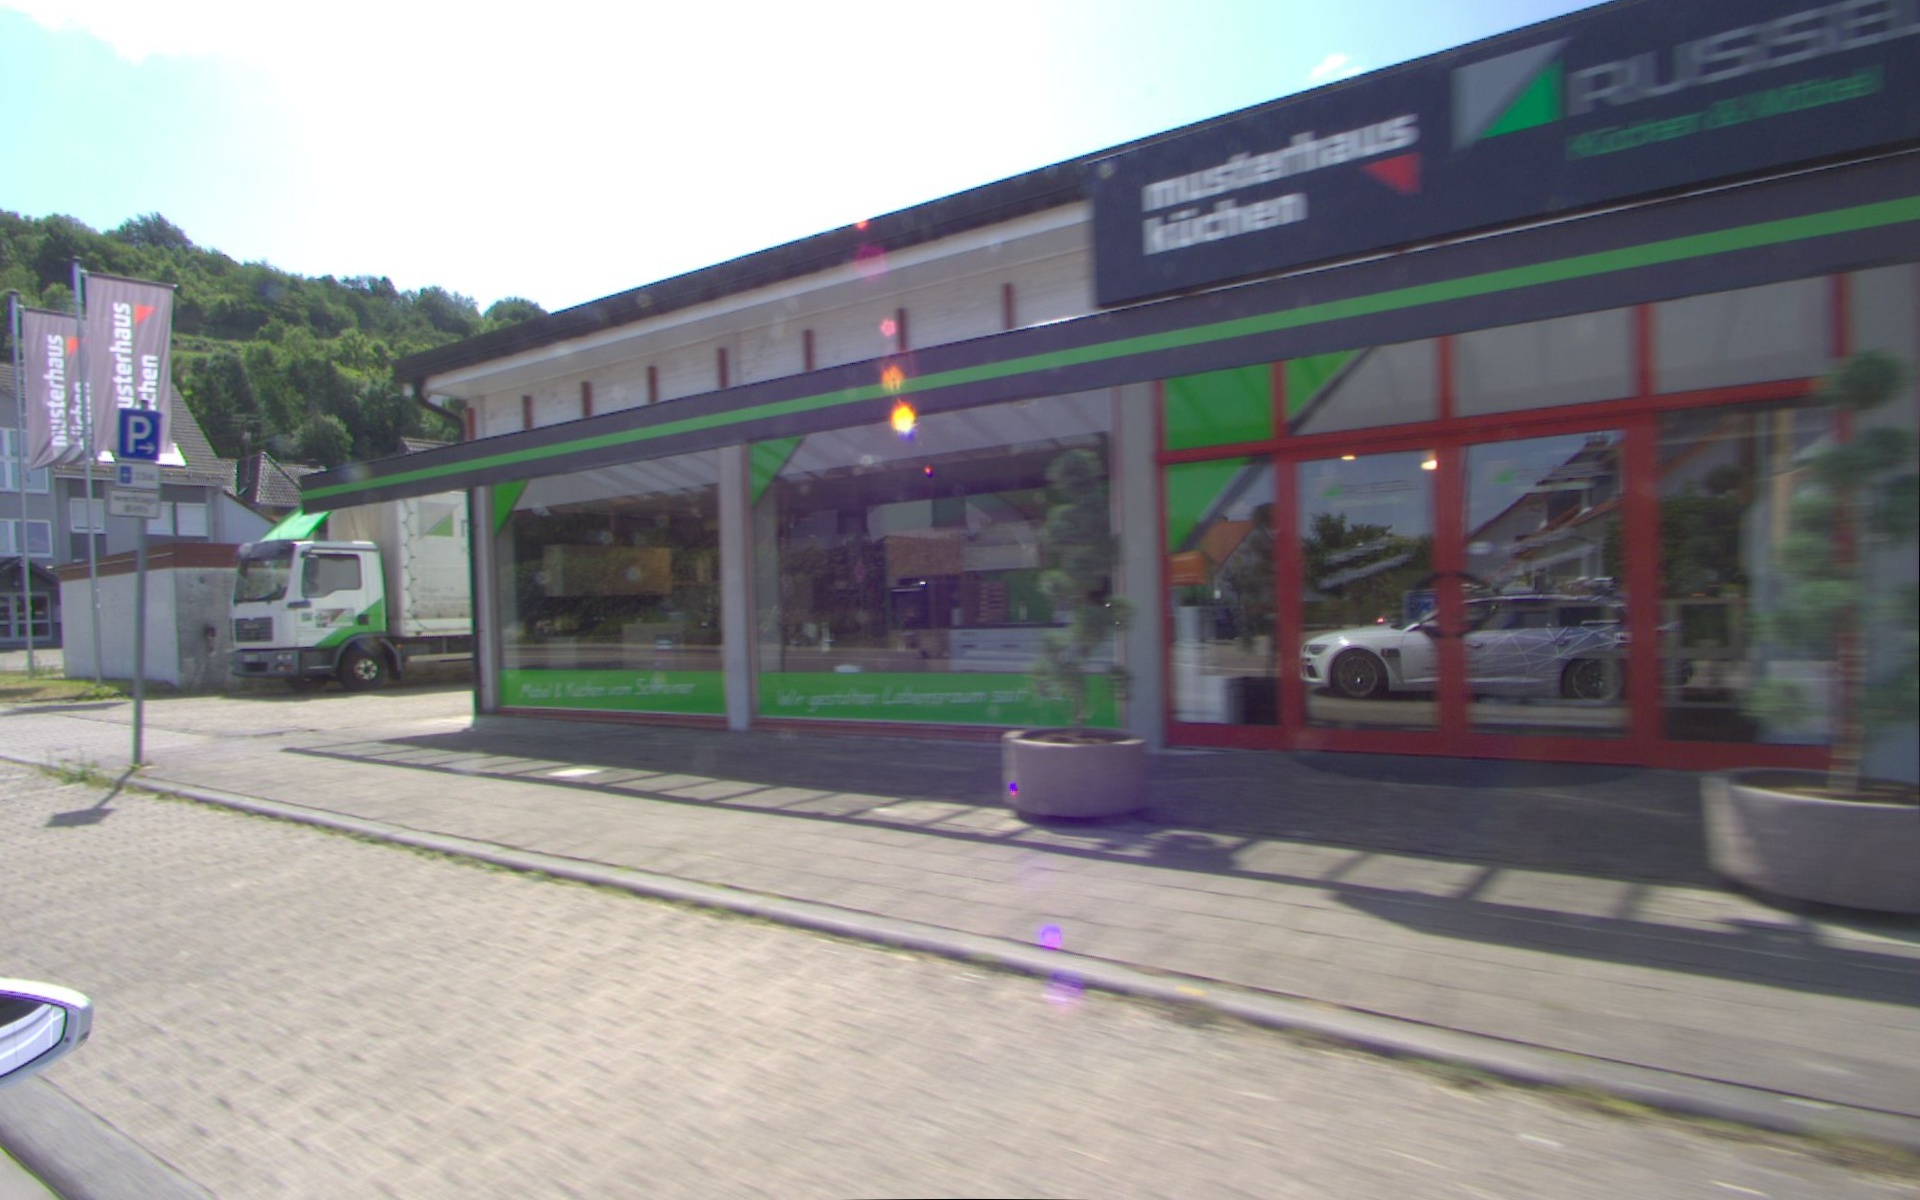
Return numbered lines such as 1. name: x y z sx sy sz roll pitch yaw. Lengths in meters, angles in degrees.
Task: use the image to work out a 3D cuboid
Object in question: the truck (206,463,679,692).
1. truck: -9.685 -0.312 20.002 2.640 3.619 8.154 -2 -1 32
